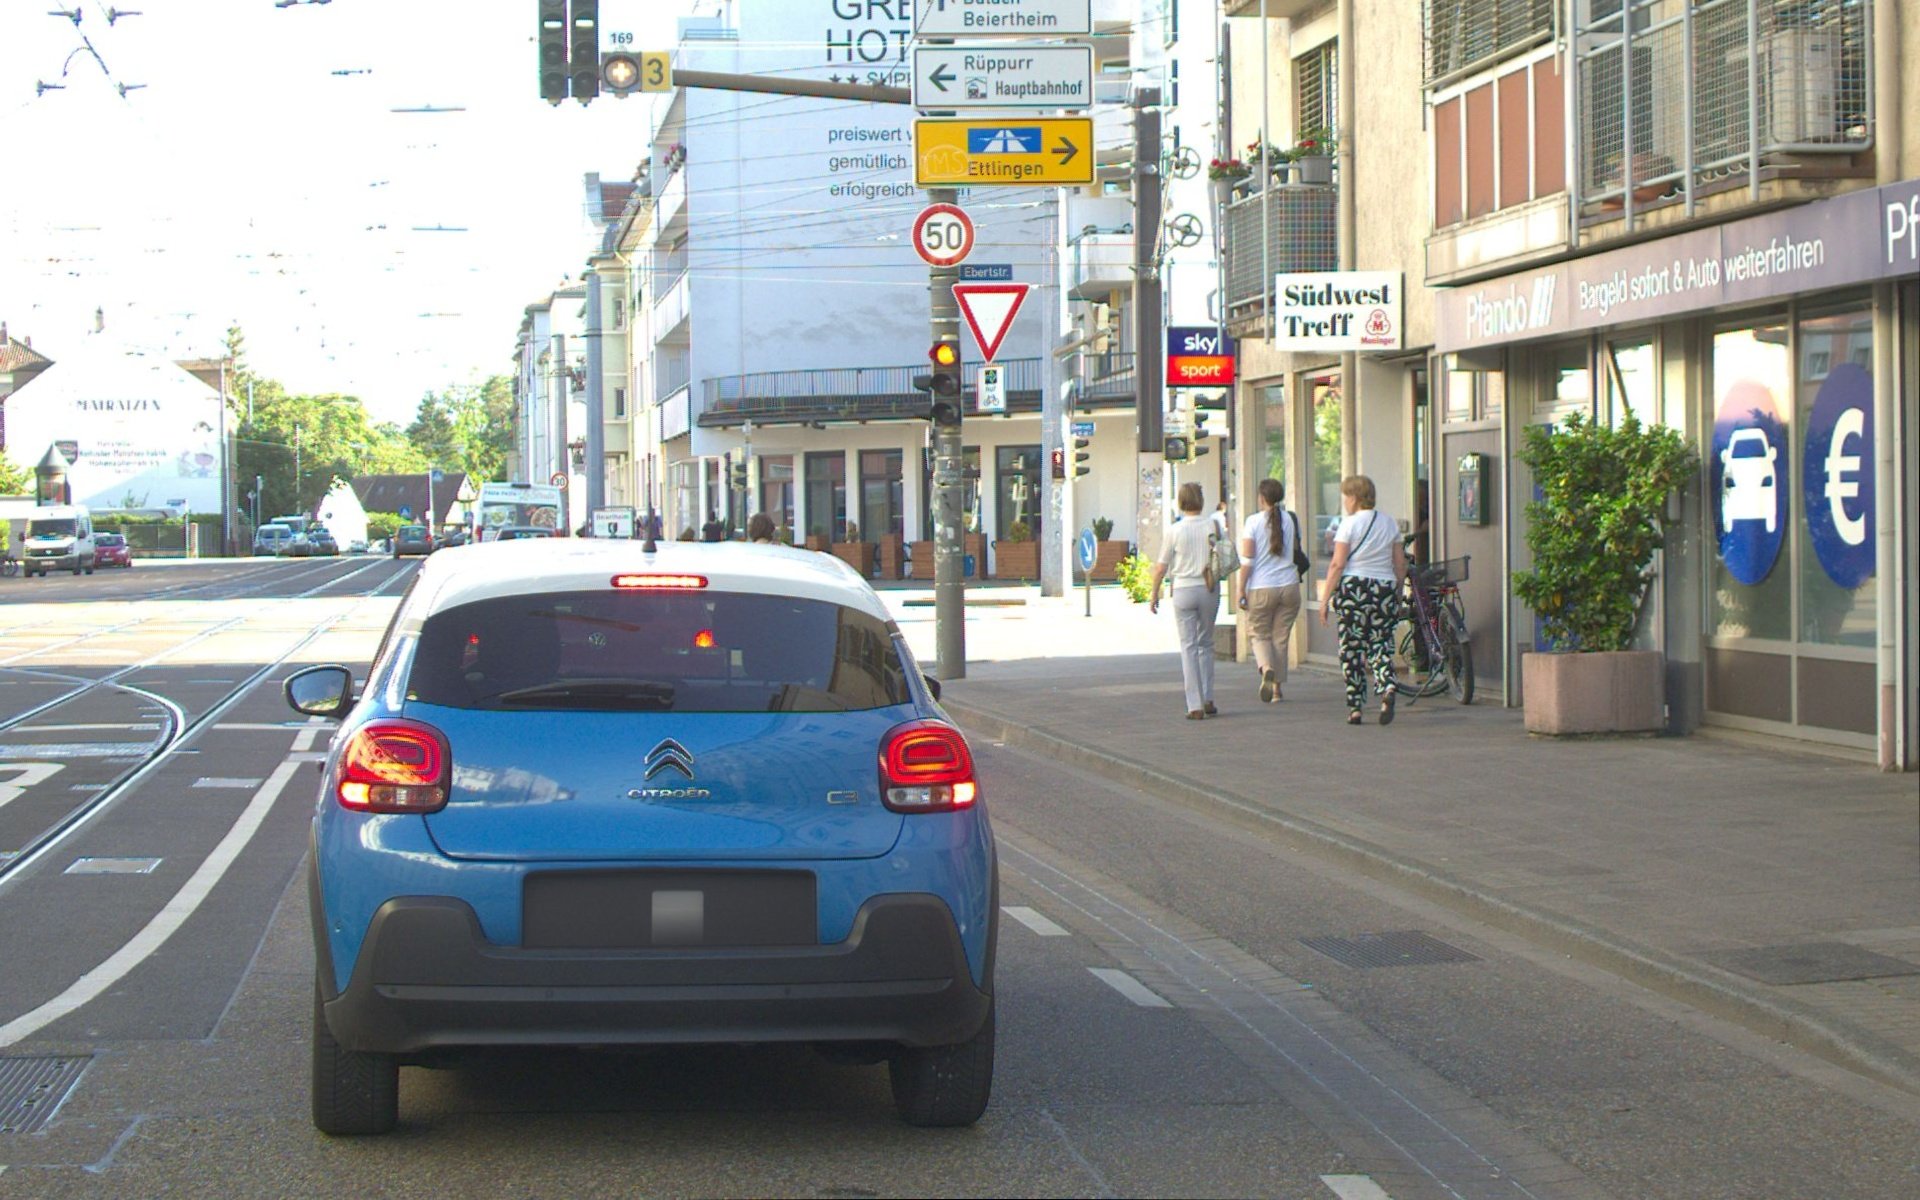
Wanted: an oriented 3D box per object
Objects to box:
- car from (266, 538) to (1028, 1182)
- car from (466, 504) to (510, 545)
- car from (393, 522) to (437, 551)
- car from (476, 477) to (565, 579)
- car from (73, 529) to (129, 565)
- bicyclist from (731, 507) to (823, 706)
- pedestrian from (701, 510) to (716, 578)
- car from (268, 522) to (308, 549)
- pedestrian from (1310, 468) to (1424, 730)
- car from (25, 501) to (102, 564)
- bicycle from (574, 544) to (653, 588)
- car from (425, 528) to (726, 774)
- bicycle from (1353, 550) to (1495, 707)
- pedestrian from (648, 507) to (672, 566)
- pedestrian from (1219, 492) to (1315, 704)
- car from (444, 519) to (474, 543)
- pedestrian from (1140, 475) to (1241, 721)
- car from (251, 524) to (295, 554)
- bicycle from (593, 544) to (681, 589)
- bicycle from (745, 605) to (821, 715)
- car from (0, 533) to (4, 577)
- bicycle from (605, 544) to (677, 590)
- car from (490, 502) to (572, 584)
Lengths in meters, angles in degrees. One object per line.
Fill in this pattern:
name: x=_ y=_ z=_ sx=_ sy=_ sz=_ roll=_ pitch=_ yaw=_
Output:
car: x=-0.993 y=0.568 z=9.947 sx=1.743 sy=1.457 sz=4.001 roll=1 pitch=1 yaw=-8
car: x=-19.050 y=-3.031 z=138.871 sx=1.688 sy=1.612 sz=4.001 roll=0 pitch=1 yaw=-7
car: x=-24.216 y=-2.833 z=152.730 sx=1.754 sy=1.255 sz=3.833 roll=-1 pitch=1 yaw=-12
car: x=-10.319 y=-1.677 z=80.504 sx=1.993 sy=2.317 sz=4.001 roll=0 pitch=1 yaw=-8
car: x=-37.649 y=-2.341 z=150.663 sx=2.021 sy=1.520 sz=4.001 roll=0 pitch=1 yaw=-9
bicyclist: x=-1.545 y=0.043 z=28.917 sx=0.726 sy=1.640 sz=0.790 roll=-1 pitch=1 yaw=-5
pedestrian: x=-5.747 y=-1.286 z=78.548 sx=0.284 sy=1.550 sz=0.305 roll=-1 pitch=1 yaw=-13
car: x=-37.771 y=-3.633 z=193.247 sx=2.021 sy=1.520 sz=4.001 roll=-1 pitch=2 yaw=-9
pedestrian: x=2.657 y=-0.015 z=22.480 sx=0.541 sy=1.666 sz=0.650 roll=-3 pitch=1 yaw=-7
car: x=-32.775 y=-2.495 z=125.781 sx=2.206 sy=2.243 sz=4.678 roll=-1 pitch=1 yaw=-9
bicycle: x=-7.724 y=-0.759 z=76.678 sx=1.720 sy=0.953 sz=0.702 roll=-1 pitch=1 yaw=-3
car: x=-2.422 y=0.254 z=22.095 sx=1.738 sy=1.415 sz=4.001 roll=0 pitch=1 yaw=-5
bicycle: x=3.319 y=0.185 z=24.722 sx=0.530 sy=1.068 sz=1.811 roll=-1 pitch=1 yaw=-8
pedestrian: x=-7.994 y=-1.689 z=91.652 sx=0.491 sy=1.550 sz=0.648 roll=-1 pitch=1 yaw=-17
pedestrian: x=2.256 y=-0.023 z=25.286 sx=0.541 sy=1.502 sz=0.611 roll=-3 pitch=3 yaw=-7
car: x=-37.022 y=-5.091 z=254.066 sx=1.993 sy=1.787 sz=4.001 roll=0 pitch=1 yaw=-5
pedestrian: x=1.608 y=-0.026 z=24.002 sx=0.541 sy=1.666 sz=0.624 roll=-3 pitch=3 yaw=-7
car: x=-35.140 y=-3.135 z=175.843 sx=2.021 sy=1.520 sz=4.001 roll=0 pitch=1 yaw=-9
bicycle: x=-7.080 y=-0.736 z=75.365 sx=1.873 sy=0.953 sz=0.702 roll=-1 pitch=1 yaw=-3
bicycle: x=-1.515 y=0.496 z=29.250 sx=0.498 sy=0.861 sz=1.749 roll=-1 pitch=1 yaw=-7
car: x=-35.276 y=-1.578 z=122.434 sx=1.870 sy=1.568 sz=4.001 roll=0 pitch=1 yaw=-8
bicycle: x=-6.896 y=-0.717 z=74.316 sx=1.503 sy=0.953 sz=0.702 roll=-1 pitch=1 yaw=-3
car: x=-9.454 y=-1.248 z=75.647 sx=1.732 sy=1.744 sz=3.214 roll=0 pitch=1 yaw=-8
